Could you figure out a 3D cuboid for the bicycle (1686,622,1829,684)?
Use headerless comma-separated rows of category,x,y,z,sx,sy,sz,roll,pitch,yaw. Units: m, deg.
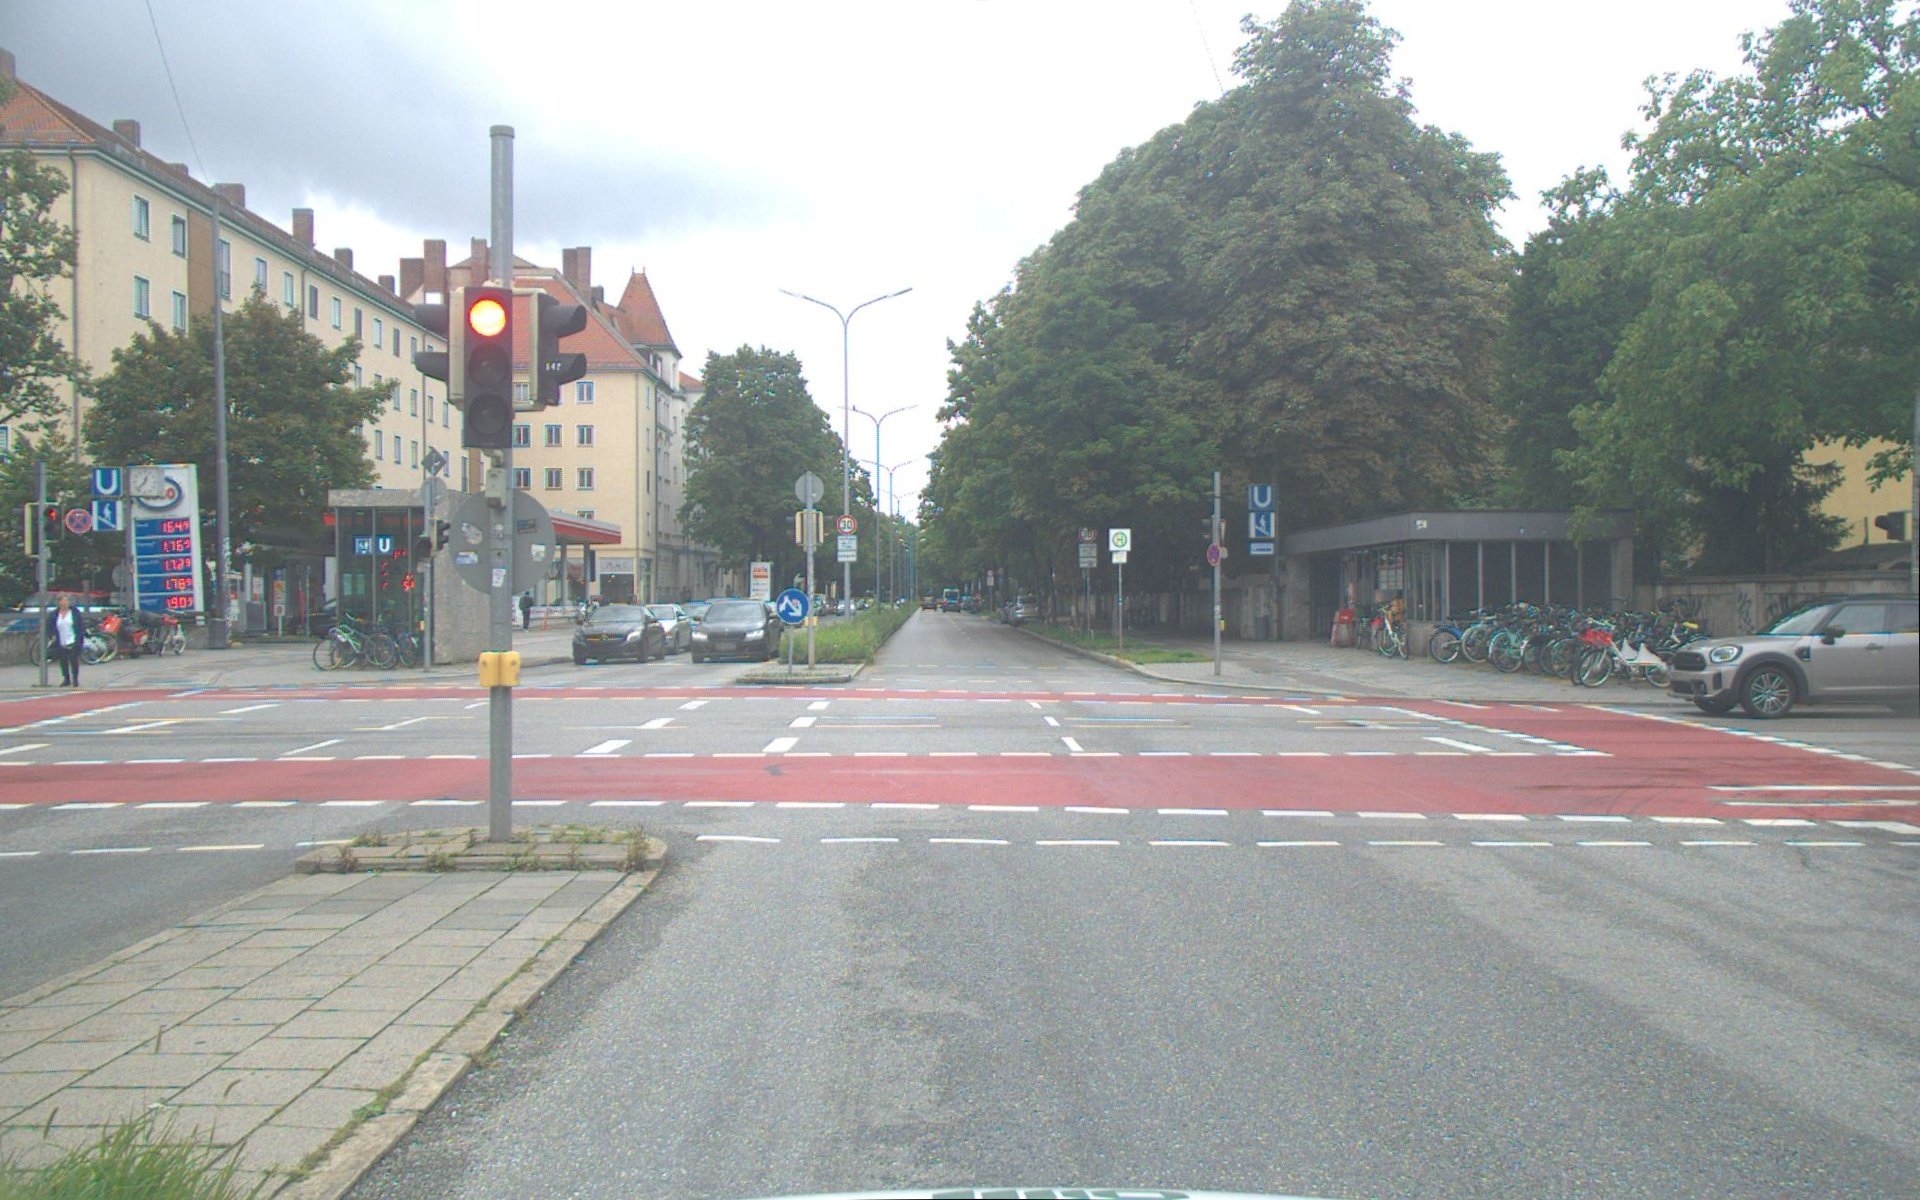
bicycle,13.556,0.901,28.145,2.097,1.032,0.634,0,0,7

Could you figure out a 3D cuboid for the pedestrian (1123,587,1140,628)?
pedestrian,7.259,0.306,69.993,0.663,1.712,0.683,0,0,5

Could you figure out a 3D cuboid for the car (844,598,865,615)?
car,-9.555,0.616,149.644,1.724,1.486,3.999,0,0,-1

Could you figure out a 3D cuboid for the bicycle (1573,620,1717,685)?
bicycle,11.229,0.861,27.172,2.097,1.032,0.603,0,0,7

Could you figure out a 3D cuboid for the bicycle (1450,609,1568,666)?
bicycle,10.655,0.733,32.129,2.097,1.080,0.603,0,0,7

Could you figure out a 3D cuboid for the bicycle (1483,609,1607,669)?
bicycle,10.841,0.720,30.694,2.097,1.105,0.603,0,0,7

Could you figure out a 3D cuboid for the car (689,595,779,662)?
car,-5.451,0.660,40.277,1.724,1.519,3.999,0,0,-1

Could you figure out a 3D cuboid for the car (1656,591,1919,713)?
car,11.690,0.665,22.098,4.081,1.540,1.696,0,0,2

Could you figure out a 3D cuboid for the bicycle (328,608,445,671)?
bicycle,-12.282,0.839,35.447,2.238,1.327,0.694,0,0,0

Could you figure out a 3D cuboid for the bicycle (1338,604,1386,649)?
bicycle,9.451,0.611,38.955,0.545,1.032,2.014,0,0,-3

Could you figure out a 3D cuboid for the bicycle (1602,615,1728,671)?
bicycle,13.319,0.805,31.285,2.097,1.032,0.634,0,0,7

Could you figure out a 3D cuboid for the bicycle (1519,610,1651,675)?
bicycle,11.034,0.751,29.253,2.097,1.120,0.603,0,0,7

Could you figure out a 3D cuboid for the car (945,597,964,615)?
car,-0.573,0.595,168.045,1.884,1.713,3.999,0,0,-1

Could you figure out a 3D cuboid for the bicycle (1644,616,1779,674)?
bicycle,13.481,0.805,29.709,2.097,1.032,0.634,0,0,7

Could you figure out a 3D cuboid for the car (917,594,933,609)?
car,-3.980,0.163,189.360,1.819,1.713,3.999,0,0,-1

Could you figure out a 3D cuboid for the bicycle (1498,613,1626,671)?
bicycle,10.894,0.757,29.965,2.097,1.032,0.603,0,0,7

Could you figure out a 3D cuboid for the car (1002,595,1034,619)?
car,3.498,0.398,99.777,1.708,1.387,3.805,0,0,-1

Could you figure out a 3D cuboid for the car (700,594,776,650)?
car,-6.405,0.605,48.085,1.724,1.519,3.999,0,0,-1

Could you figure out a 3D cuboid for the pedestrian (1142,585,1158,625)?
pedestrian,8.085,0.214,70.350,0.663,1.712,0.683,0,0,5

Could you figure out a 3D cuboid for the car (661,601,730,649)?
car,-8.768,0.806,55.158,1.724,1.486,3.999,0,0,-1

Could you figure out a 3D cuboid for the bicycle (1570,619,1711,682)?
bicycle,11.413,0.848,27.800,2.097,1.032,0.634,0,0,7

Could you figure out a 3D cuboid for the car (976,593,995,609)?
car,2.442,0.090,159.277,1.708,1.452,3.898,0,0,-1

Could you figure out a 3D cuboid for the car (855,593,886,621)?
car,-4.607,0.337,85.464,1.438,1.423,3.699,0,0,-1

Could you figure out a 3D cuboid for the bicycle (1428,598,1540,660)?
bicycle,10.677,0.596,33.727,2.097,1.240,0.603,0,0,7

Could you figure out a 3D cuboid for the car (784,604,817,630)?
car,-9.703,1.028,100.694,1.724,1.519,3.999,0,0,-1

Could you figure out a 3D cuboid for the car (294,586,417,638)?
car,-22.377,0.444,61.352,3.908,1.870,1.879,0,0,-4

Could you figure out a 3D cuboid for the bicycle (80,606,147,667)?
bicycle,-18.418,0.773,36.031,0.596,1.257,2.183,0,0,-7

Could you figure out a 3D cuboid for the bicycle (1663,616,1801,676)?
bicycle,13.490,0.800,28.941,2.097,1.032,0.634,0,0,7

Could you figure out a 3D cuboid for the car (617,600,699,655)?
car,-8.767,0.769,48.243,1.724,1.486,3.999,0,0,-1

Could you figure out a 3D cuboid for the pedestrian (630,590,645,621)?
pedestrian,-17.445,0.292,89.441,0.682,1.666,0.738,0,0,-1

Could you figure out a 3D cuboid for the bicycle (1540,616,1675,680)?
bicycle,11.181,0.823,28.601,2.097,1.089,0.603,0,0,7

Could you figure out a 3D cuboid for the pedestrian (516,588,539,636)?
pedestrian,-18.764,0.503,71.732,0.715,2.049,0.834,1,-1,-1

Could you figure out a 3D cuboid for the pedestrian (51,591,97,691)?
pedestrian,-15.525,0.715,28.987,0.524,1.725,0.576,0,0,-8

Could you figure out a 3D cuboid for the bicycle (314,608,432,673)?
bicycle,-12.291,0.839,34.667,2.225,1.327,0.704,0,0,0

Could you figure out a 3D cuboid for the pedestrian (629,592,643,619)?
pedestrian,-20.085,0.350,102.519,0.682,1.666,0.738,0,0,-1

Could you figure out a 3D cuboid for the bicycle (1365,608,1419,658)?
bicycle,9.449,0.712,36.221,0.545,1.032,2.014,0,0,-3

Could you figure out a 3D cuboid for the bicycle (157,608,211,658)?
bicycle,-18.832,0.794,40.169,0.596,1.165,1.962,0,0,-7

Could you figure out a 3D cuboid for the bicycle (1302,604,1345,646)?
bicycle,9.285,0.629,42.332,0.545,1.032,2.014,0,0,-3

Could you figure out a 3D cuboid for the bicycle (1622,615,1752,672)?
bicycle,13.387,0.805,30.501,2.097,1.032,0.634,0,0,7

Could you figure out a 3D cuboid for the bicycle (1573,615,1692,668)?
bicycle,13.347,0.816,32.866,2.097,1.032,0.634,0,0,7

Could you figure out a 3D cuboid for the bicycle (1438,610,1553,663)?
bicycle,10.667,0.718,33.011,2.097,1.032,0.603,0,0,7

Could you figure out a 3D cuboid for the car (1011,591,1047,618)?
car,3.713,0.228,89.762,1.708,1.387,3.805,0,0,-1

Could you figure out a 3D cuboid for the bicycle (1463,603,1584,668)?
bicycle,10.698,0.671,31.429,2.097,1.199,0.603,0,0,7

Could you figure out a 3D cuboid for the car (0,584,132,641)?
car,-26.947,0.364,49.020,3.877,1.637,1.815,0,0,-5

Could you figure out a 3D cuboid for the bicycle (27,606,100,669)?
bicycle,-19.048,0.777,35.191,0.596,1.257,2.183,0,0,-7

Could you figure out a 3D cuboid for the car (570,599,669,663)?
car,-8.433,0.743,41.295,1.724,1.486,3.999,0,0,-1
